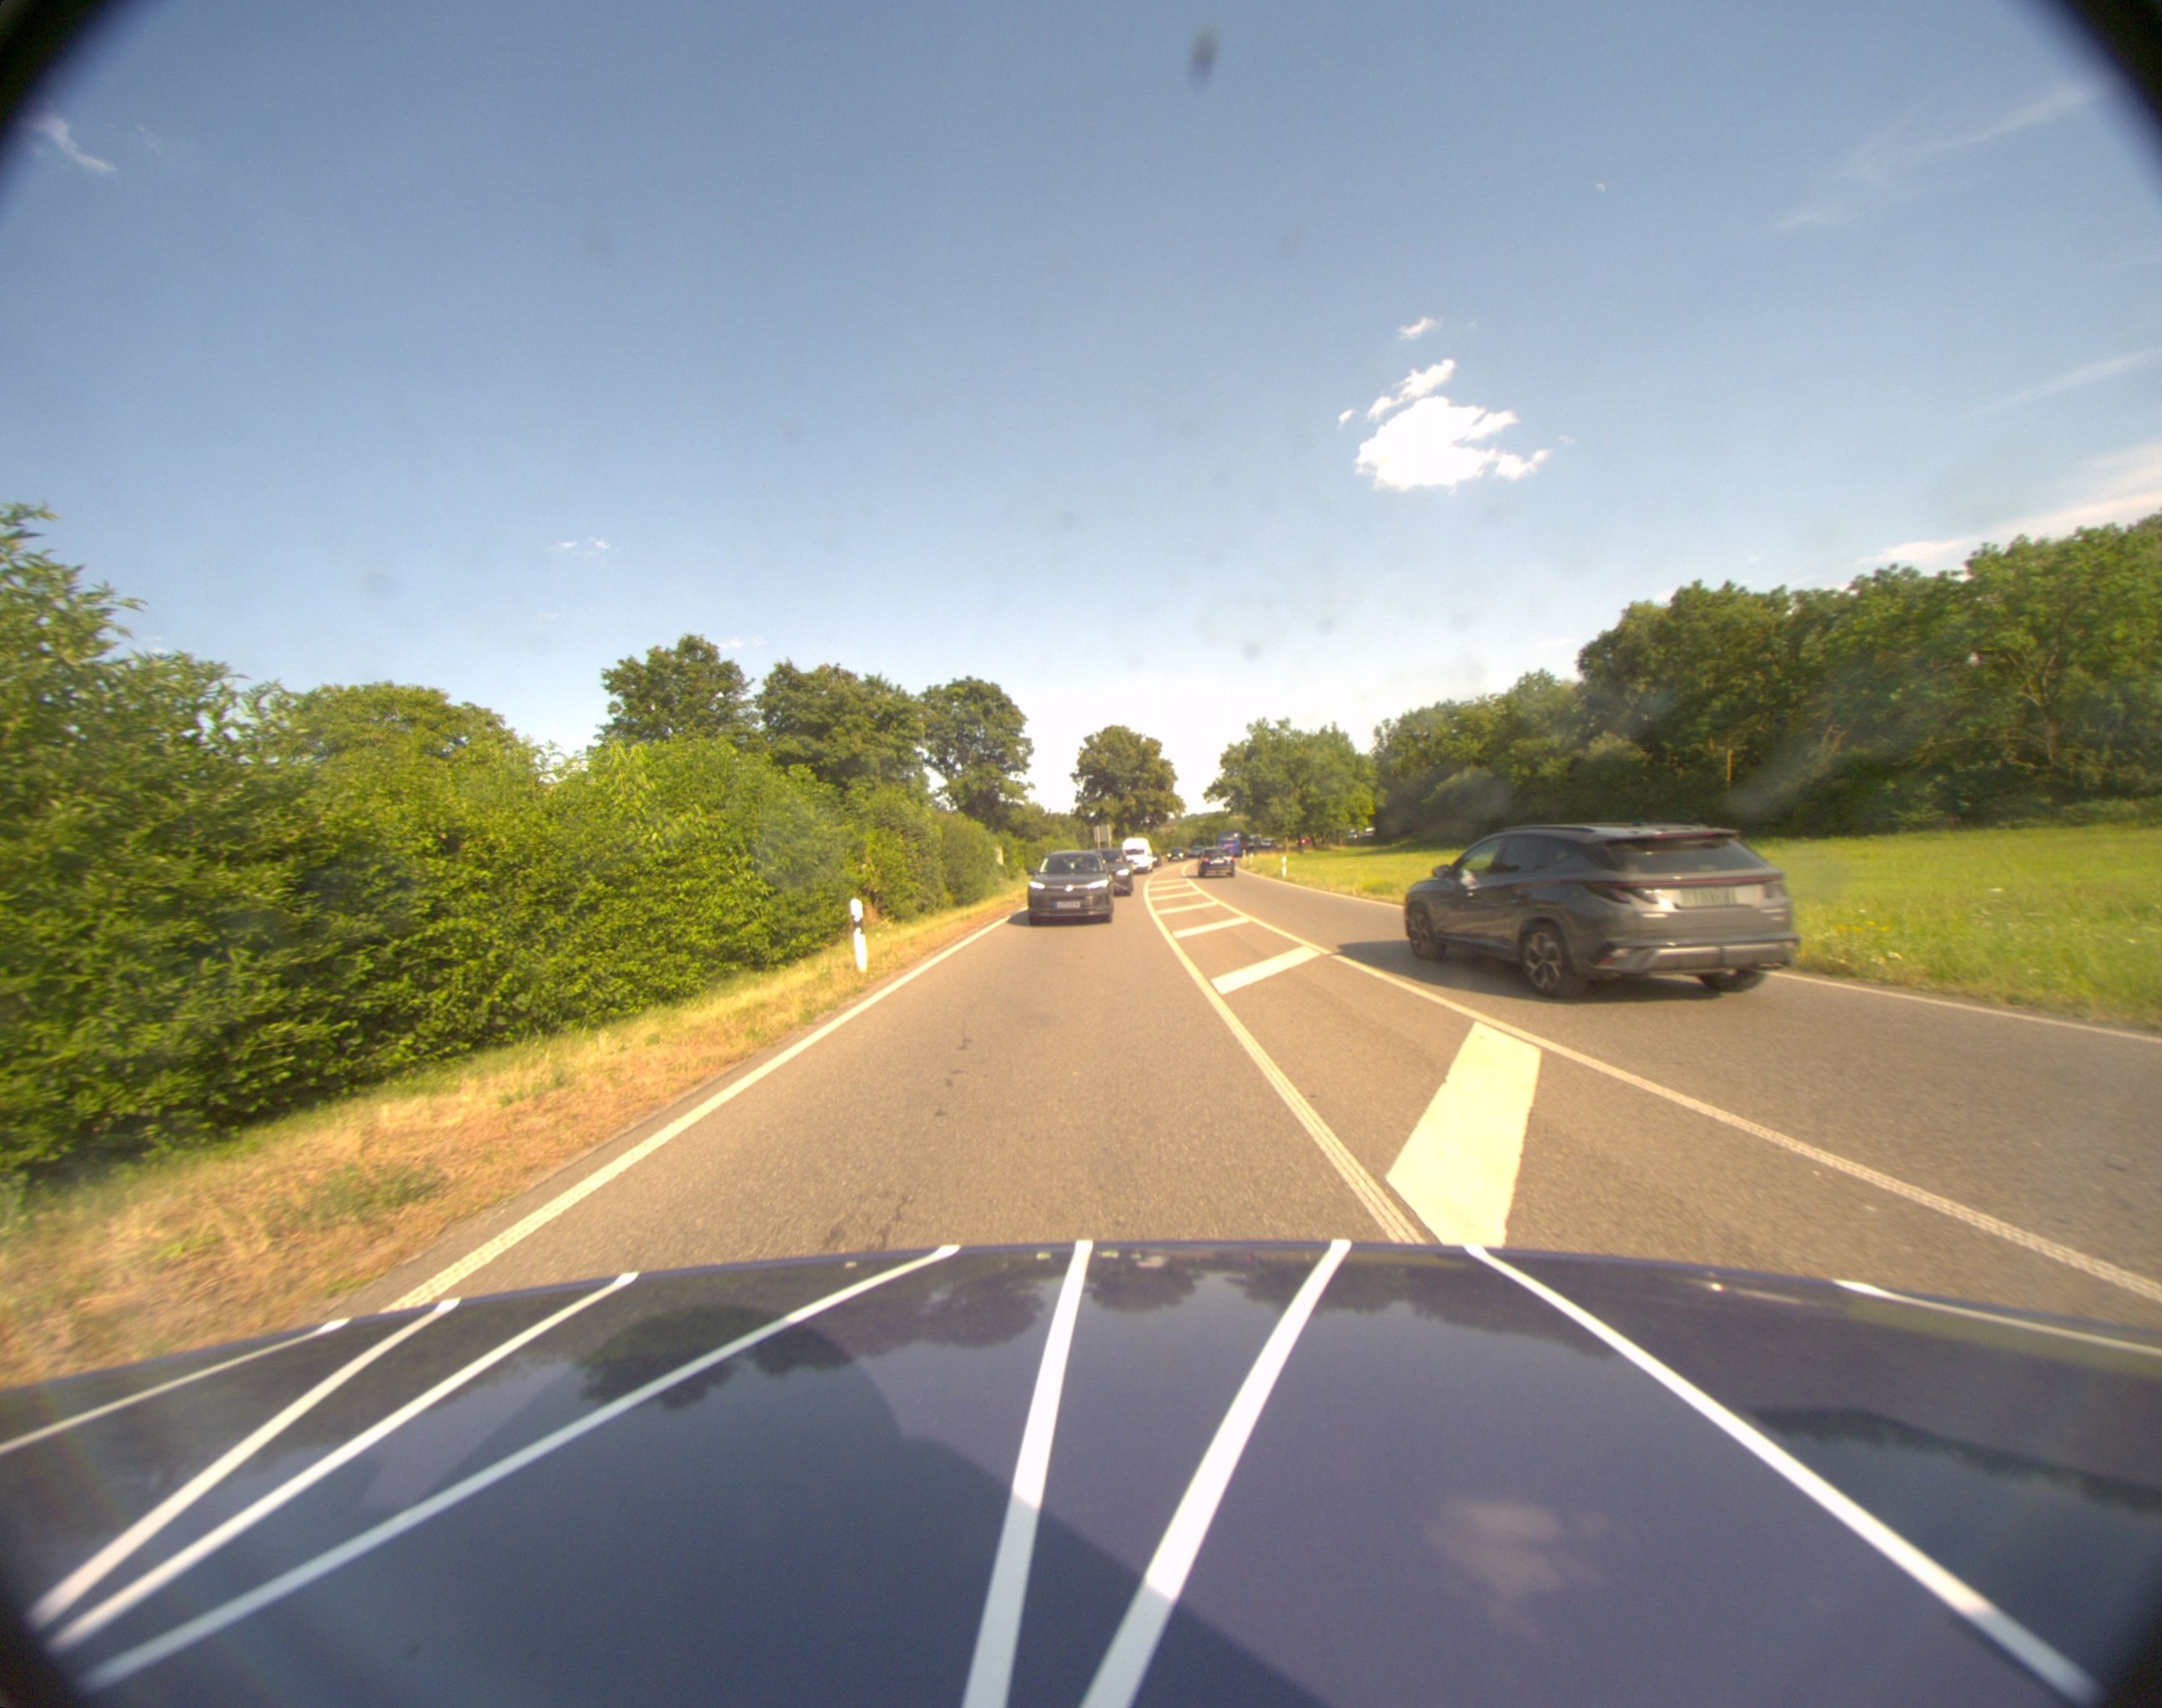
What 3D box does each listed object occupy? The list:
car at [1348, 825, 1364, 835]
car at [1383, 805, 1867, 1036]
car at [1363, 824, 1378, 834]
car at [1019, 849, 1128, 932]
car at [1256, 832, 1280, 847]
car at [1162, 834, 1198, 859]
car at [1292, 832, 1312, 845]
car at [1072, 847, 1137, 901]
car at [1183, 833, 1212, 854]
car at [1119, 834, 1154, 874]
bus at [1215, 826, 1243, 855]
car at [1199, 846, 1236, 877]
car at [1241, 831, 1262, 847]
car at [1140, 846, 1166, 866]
[{"bbox_3d":[68.397,-5.994,188.752,2.084,2.403,5.151,-2,2,39],"label":"car"},{"bbox_3d":[5.189,0.544,8.234,1.998,1.714,4.426,-3,0,0],"label":"car"},{"bbox_3d":[76.317,-6.719,200.430,2.084,2.403,5.151,-2,2,39],"label":"car"},{"bbox_3d":[-0.018,0.755,18.141,1.921,1.612,4.703,-3,1,7],"label":"car"},{"bbox_3d":[32.817,-2.551,133.323,2.084,2.403,5.151,-2,2,39],"label":"car"},{"bbox_3d":[10.773,-0.879,82.571,2.085,2.403,5.150,-3,2,28],"label":"car"},{"bbox_3d":[45.308,-3.277,155.733,2.084,2.403,5.151,-2,2,39],"label":"car"},{"bbox_3d":[0.966,0.662,28.009,1.921,1.719,4.703,-3,1,7],"label":"car"},{"bbox_3d":[15.175,-1.404,98.910,2.085,2.403,5.150,-3,2,28],"label":"car"},{"bbox_3d":[3.730,-0.073,50.378,2.087,2.403,5.143,-3,1,5],"label":"car"},{"bbox_3d":[17.963,-1.738,92.740,2.799,3.163,12.131,-3,1,9],"label":"bus"},{"bbox_3d":[7.164,0.389,40.082,1.698,1.543,4.155,-1,0,7],"label":"car"},{"bbox_3d":[28.397,-2.500,126.225,2.085,2.403,5.150,-3,2,28],"label":"car"},{"bbox_3d":[6.194,0.141,64.999,1.697,1.544,4.155,-1,1,12],"label":"car"}]
